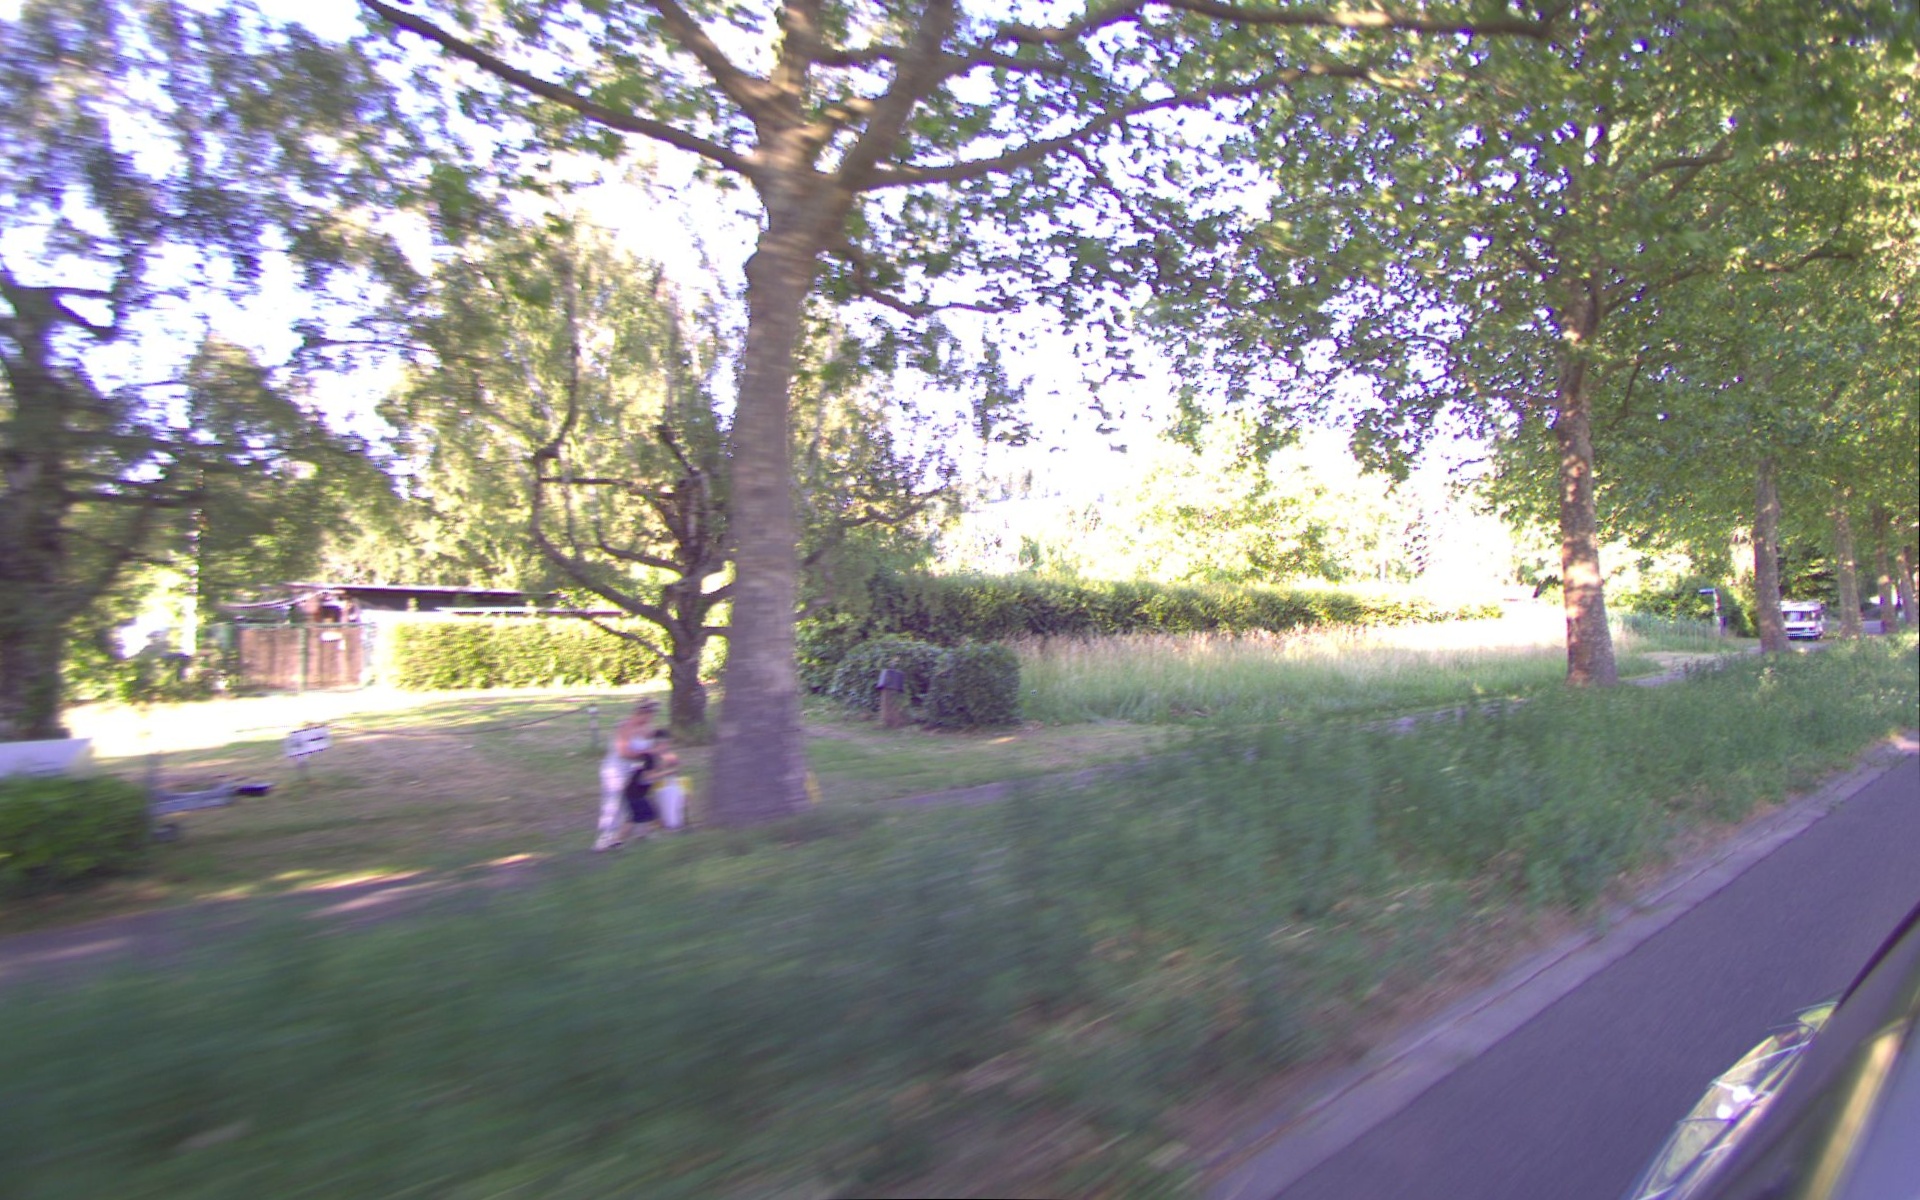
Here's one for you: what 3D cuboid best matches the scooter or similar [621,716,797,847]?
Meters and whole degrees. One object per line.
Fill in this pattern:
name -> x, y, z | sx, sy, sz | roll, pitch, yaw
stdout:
scooter or similar -> -2.346, 1.688, 9.481 | 1.571, 1.149, 0.340 | -1, 0, 6

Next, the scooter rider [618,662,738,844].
scooter rider -> -2.680, 1.421, 9.673 | 0.832, 1.596, 0.781 | -1, 0, 14

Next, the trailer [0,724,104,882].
trailer -> -8.700, 1.816, 9.224 | 1.178, 1.066, 2.124 | -1, 0, -35

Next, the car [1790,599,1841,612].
car -> 94.791, 0.576, 112.218 | 1.963, 1.404, 3.997 | -1, 0, -37

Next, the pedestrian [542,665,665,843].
pedestrian -> -3.491, 1.466, 9.936 | 0.834, 1.596, 0.780 | -1, 0, 20

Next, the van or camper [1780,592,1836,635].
van or camper -> 58.136, 0.865, 69.318 | 5.592, 2.835, 2.382 | -1, 0, -44

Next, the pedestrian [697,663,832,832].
pedestrian -> -2.085, 1.527, 10.889 | 0.838, 1.596, 1.193 | -1, 0, 32
